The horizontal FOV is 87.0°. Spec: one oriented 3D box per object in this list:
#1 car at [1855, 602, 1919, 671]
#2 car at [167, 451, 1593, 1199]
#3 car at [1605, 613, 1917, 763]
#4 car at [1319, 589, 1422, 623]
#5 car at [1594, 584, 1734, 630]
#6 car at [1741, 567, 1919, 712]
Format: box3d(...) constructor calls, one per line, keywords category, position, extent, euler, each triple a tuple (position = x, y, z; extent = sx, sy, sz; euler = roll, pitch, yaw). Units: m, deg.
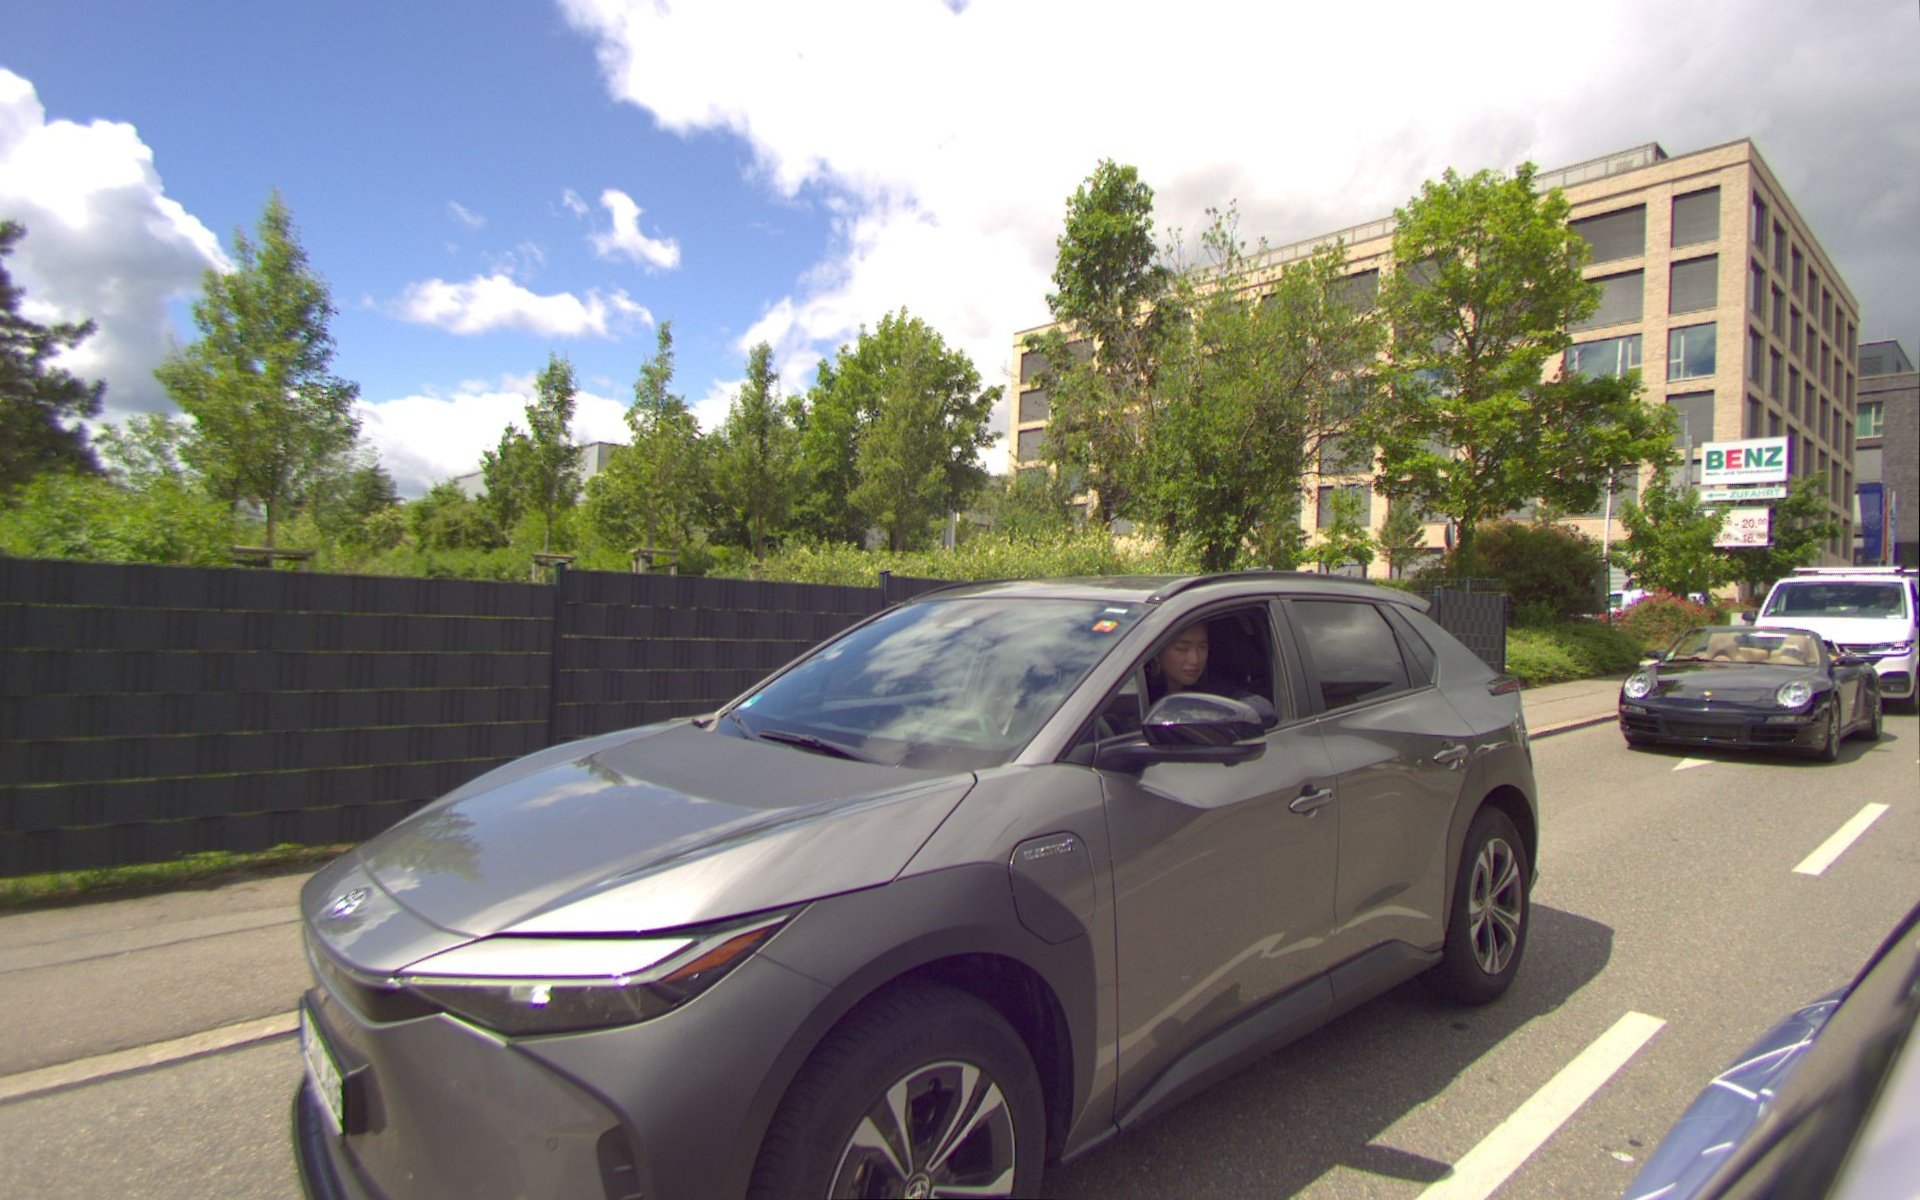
box3d(category="car", position=(20.496, 0.728, 21.235), extent=(4.485, 1.290, 1.778), euler=(0, 1, -38))
box3d(category="car", position=(0.277, 0.657, 3.442), extent=(4.601, 1.634, 1.922), euler=(0, -1, -41))
box3d(category="car", position=(8.779, 0.791, 10.948), extent=(4.487, 1.290, 1.776), euler=(0, -1, -40))
box3d(category="car", position=(19.344, 0.248, 47.820), extent=(1.705, 1.436, 4.215), euler=(1, 1, -41))
box3d(category="car", position=(27.334, 0.235, 39.383), extent=(1.707, 1.596, 4.211), euler=(1, 1, -44))
box3d(category="car", position=(13.586, 0.531, 15.281), extent=(4.563, 1.874, 1.962), euler=(0, -1, -41))
